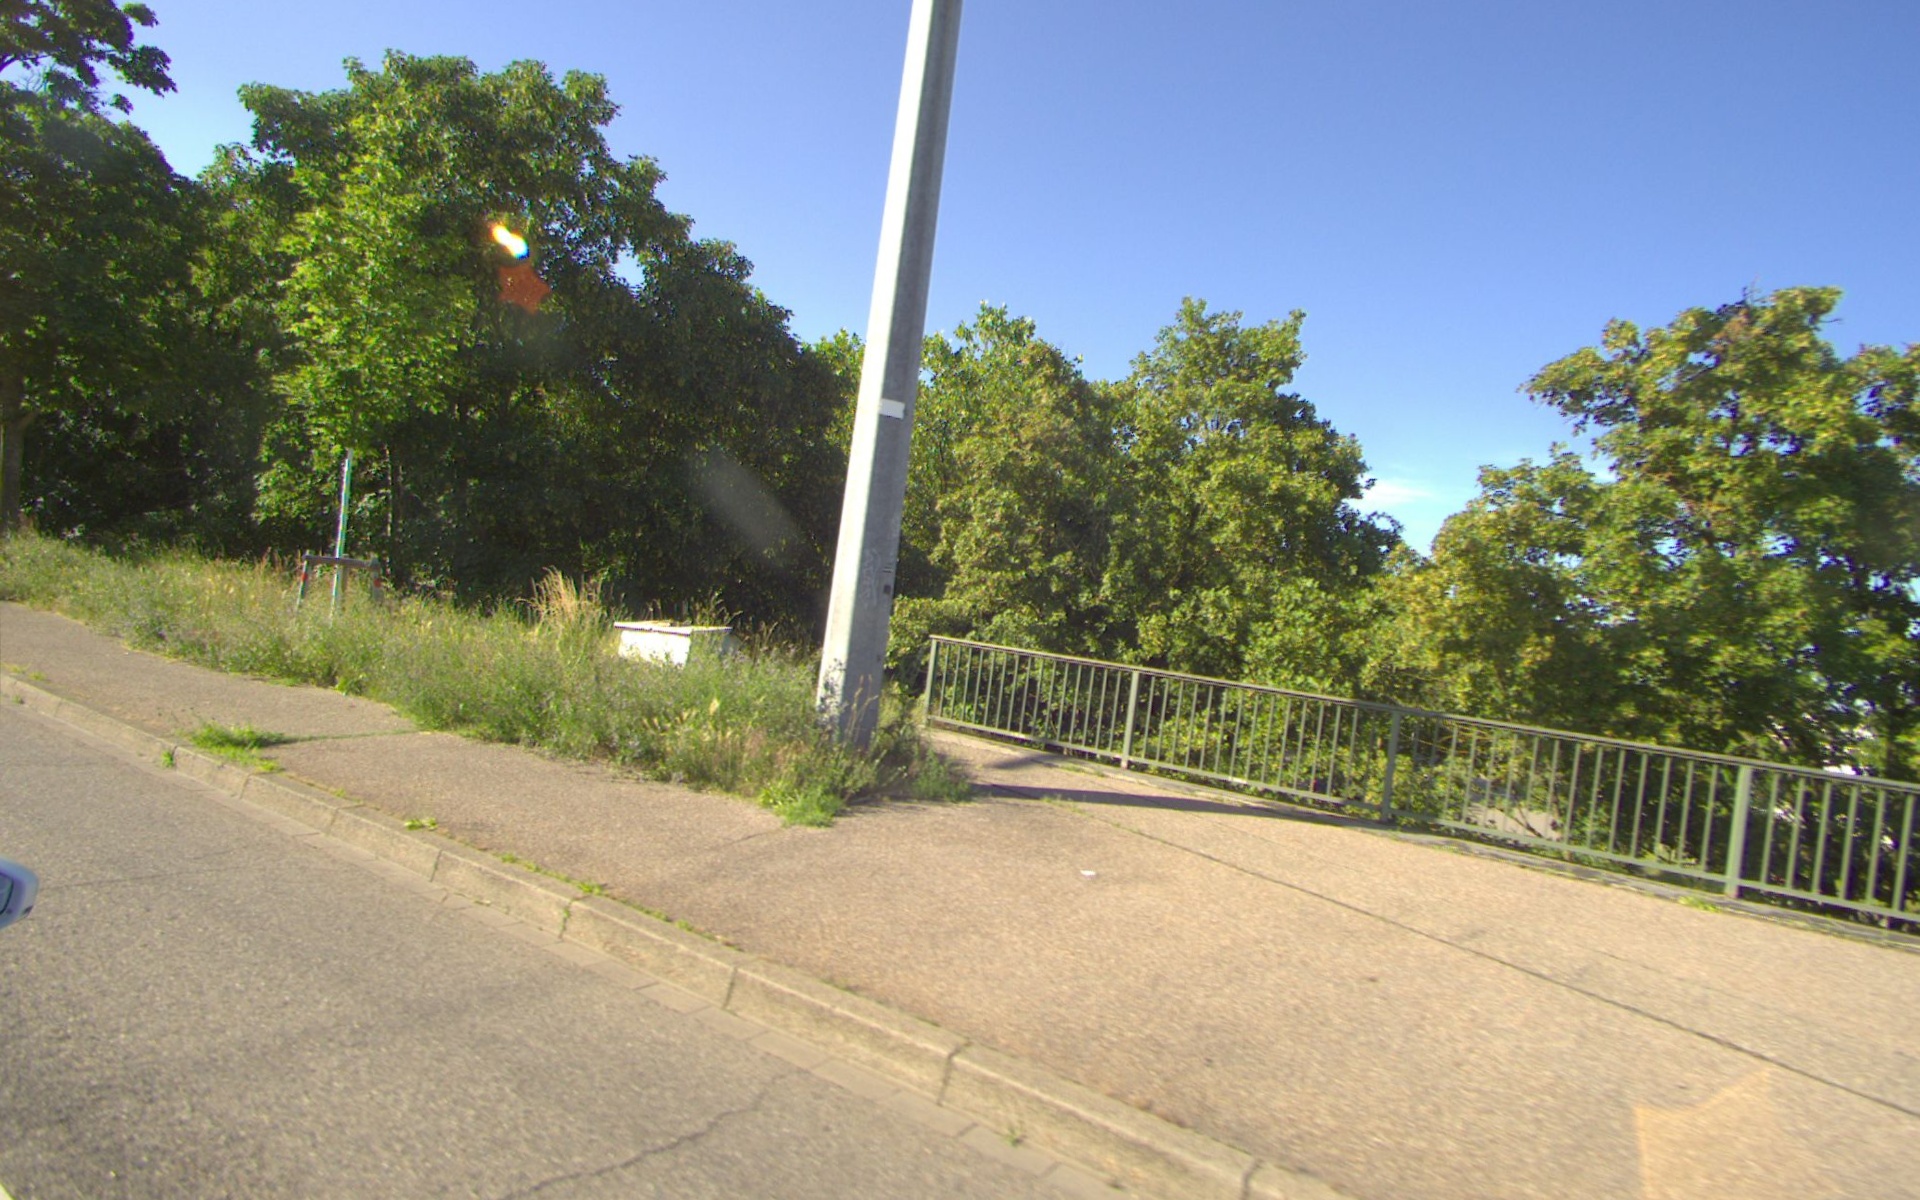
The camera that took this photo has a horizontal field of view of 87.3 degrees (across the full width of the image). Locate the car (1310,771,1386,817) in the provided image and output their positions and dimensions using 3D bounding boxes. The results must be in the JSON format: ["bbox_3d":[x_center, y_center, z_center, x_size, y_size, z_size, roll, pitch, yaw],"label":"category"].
[{"bbox_3d":[22.893,11.430,59.403,3.927,1.659,1.845,9,-1,23],"label":"car"}]
